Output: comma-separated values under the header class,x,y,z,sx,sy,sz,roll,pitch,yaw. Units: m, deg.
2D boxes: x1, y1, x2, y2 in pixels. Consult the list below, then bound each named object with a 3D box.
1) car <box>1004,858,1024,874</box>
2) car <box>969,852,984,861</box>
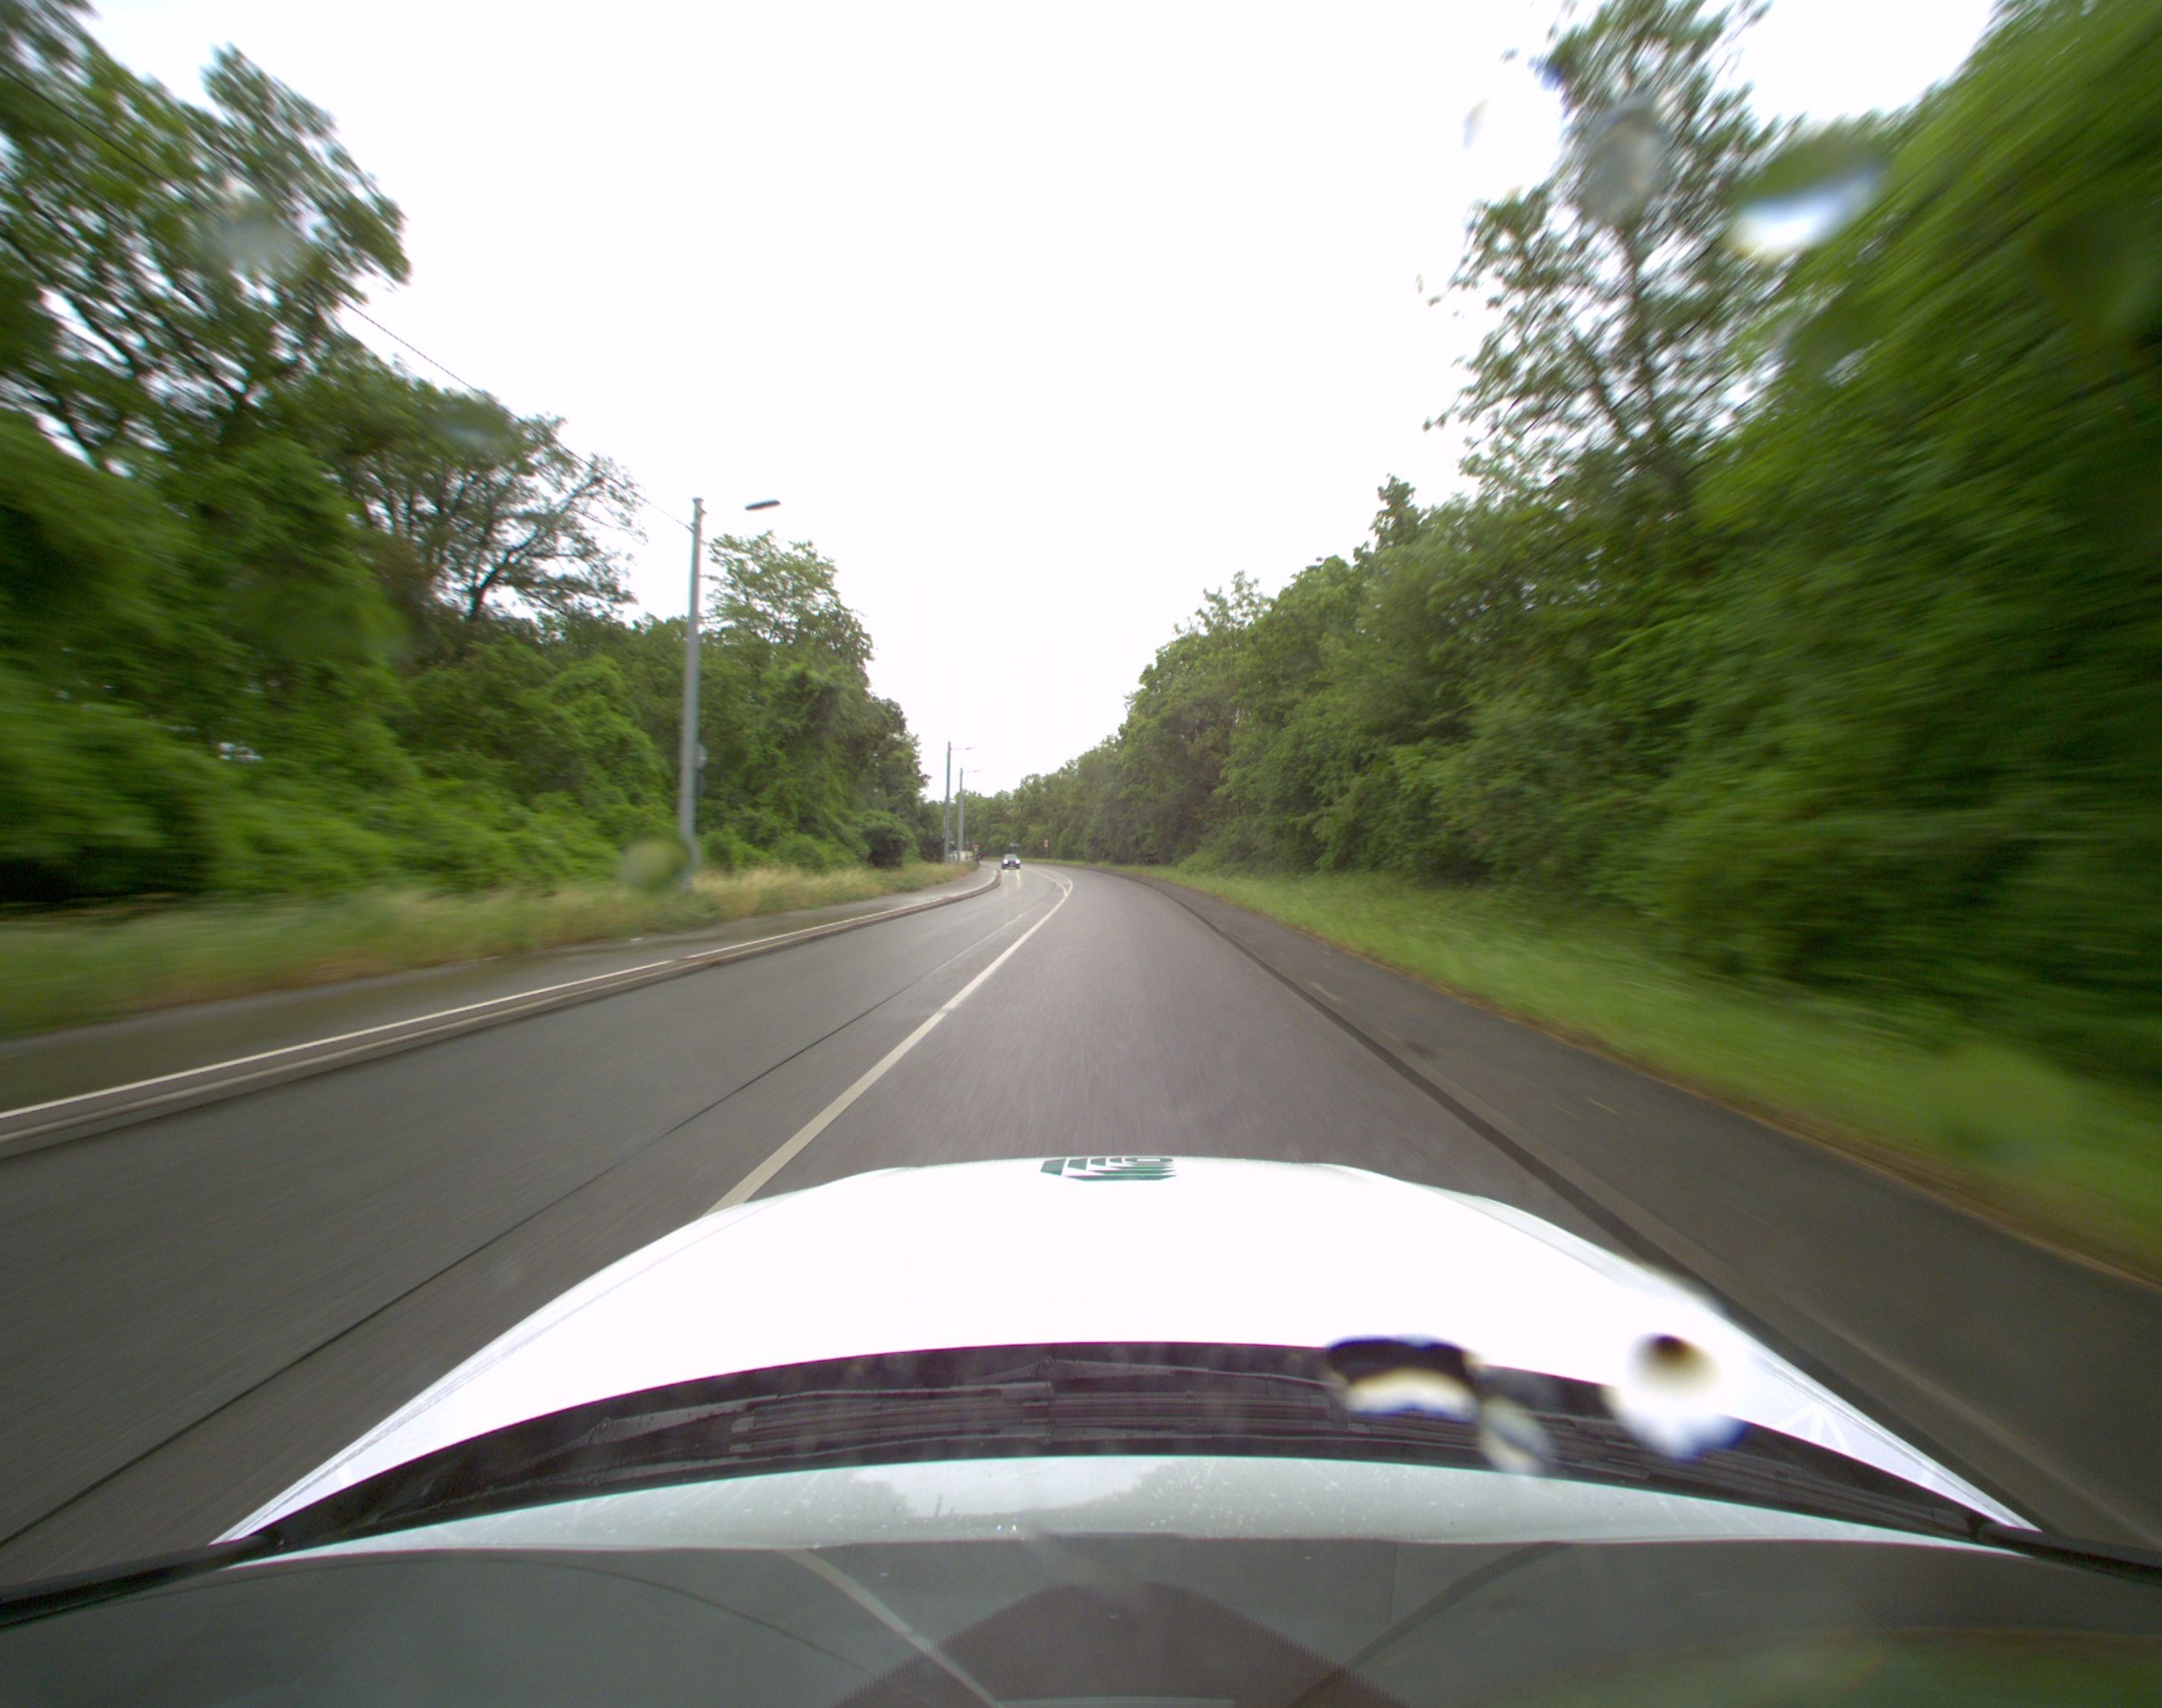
class,x,y,z,sx,sy,sz,roll,pitch,yaw
car,-8.053,1.402,97.828,1.994,1.787,4.691,-1,0,-10
car,-22.331,0.491,174.598,1.879,1.595,3.964,-2,3,-28
